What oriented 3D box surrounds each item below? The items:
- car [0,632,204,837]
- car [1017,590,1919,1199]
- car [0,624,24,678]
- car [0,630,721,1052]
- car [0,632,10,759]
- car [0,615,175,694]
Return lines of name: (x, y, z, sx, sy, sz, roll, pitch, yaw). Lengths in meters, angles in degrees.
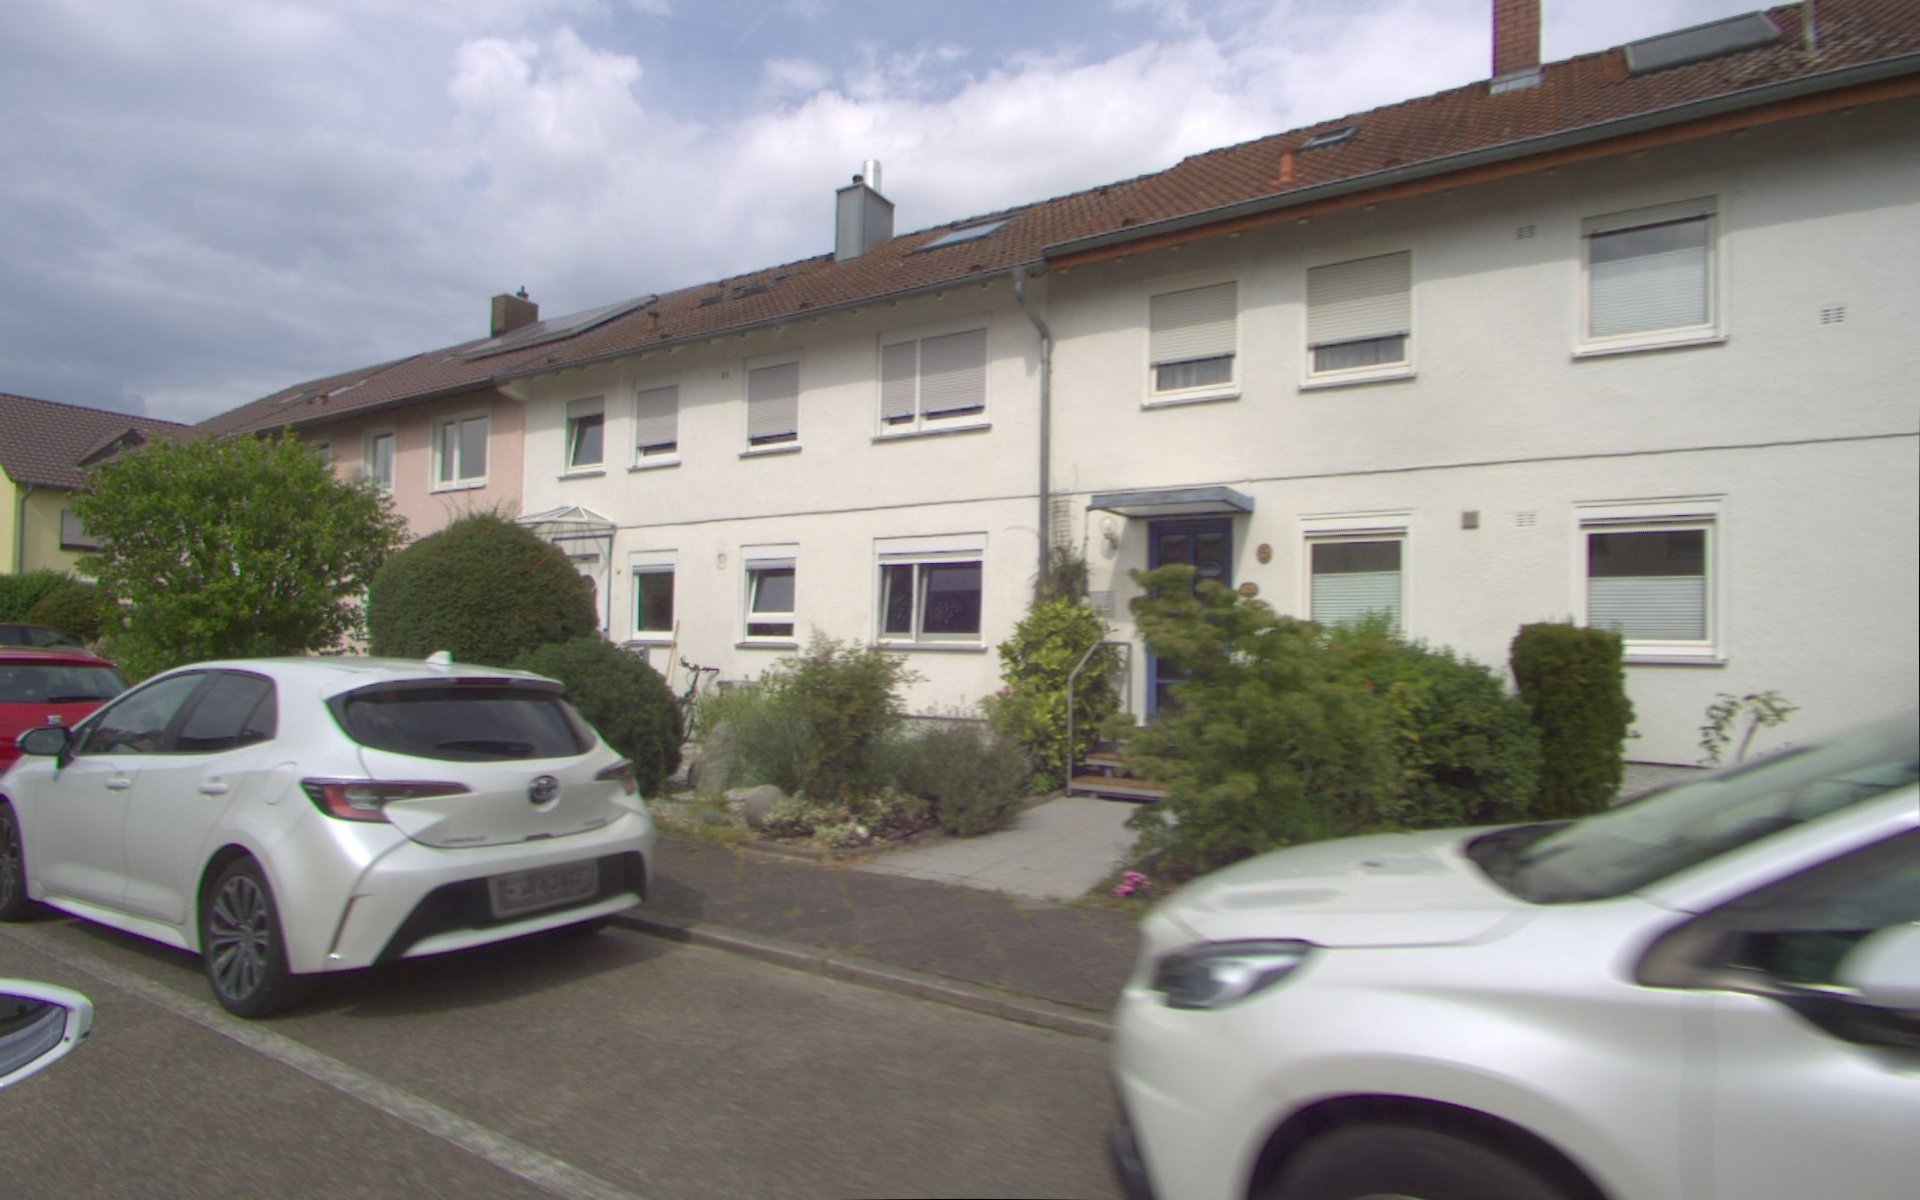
car: (-8.663, 1.008, 8.666, 4.757, 1.453, 1.772, -1, -5, 33)
car: (2.243, 0.831, 1.871, 3.915, 1.562, 1.713, 0, -4, 31)
car: (-27.926, 1.329, 26.320, 1.997, 1.451, 4.446, 0, -2, 30)
car: (-3.668, 0.918, 5.471, 4.566, 1.431, 1.837, 0, -2, 30)
car: (-12.621, 1.018, 11.324, 4.205, 1.373, 1.770, 0, -2, 33)
car: (-19.599, 1.122, 21.222, 1.907, 1.580, 4.263, 0, -2, 32)
